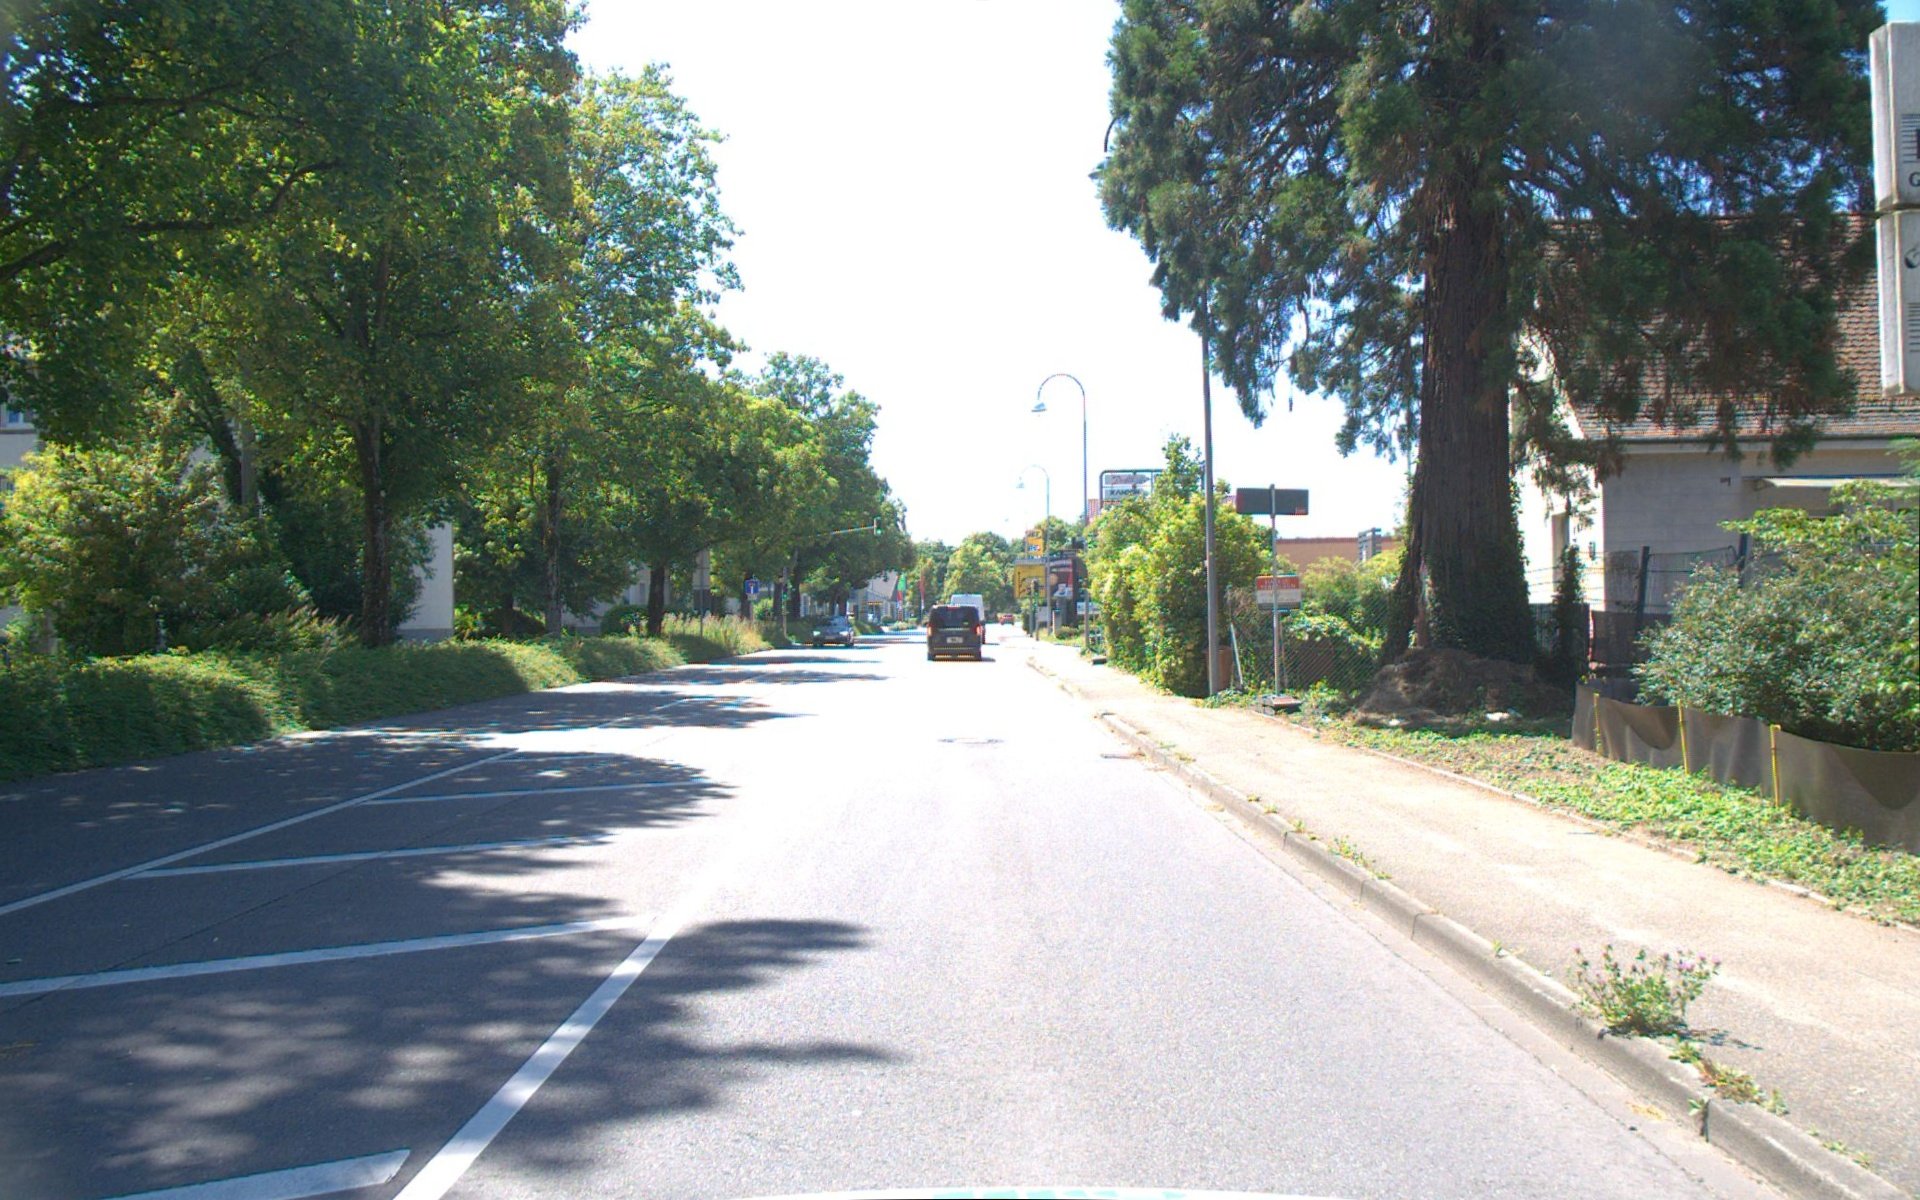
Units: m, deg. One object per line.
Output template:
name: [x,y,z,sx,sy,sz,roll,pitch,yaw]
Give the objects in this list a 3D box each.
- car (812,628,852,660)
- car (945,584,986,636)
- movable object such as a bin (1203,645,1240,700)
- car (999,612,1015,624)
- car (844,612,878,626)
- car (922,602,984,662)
car: [-6.057,2.068,78.803,1.687,1.452,4.146,0,-1,-2]
car: [0.334,0.530,89.512,2.076,2.724,5.662,0,0,1]
movable object such as a bin: [4.568,1.262,28.858,0.462,0.944,0.522,0,-2,33]
car: [6.447,2.465,225.834,1.821,1.672,3.997,0,0,-4]
car: [-12.382,2.416,207.748,3.902,1.691,2.002,0,0,11]
car: [-0.261,1.059,56.315,1.953,1.926,3.998,0,0,-3]
